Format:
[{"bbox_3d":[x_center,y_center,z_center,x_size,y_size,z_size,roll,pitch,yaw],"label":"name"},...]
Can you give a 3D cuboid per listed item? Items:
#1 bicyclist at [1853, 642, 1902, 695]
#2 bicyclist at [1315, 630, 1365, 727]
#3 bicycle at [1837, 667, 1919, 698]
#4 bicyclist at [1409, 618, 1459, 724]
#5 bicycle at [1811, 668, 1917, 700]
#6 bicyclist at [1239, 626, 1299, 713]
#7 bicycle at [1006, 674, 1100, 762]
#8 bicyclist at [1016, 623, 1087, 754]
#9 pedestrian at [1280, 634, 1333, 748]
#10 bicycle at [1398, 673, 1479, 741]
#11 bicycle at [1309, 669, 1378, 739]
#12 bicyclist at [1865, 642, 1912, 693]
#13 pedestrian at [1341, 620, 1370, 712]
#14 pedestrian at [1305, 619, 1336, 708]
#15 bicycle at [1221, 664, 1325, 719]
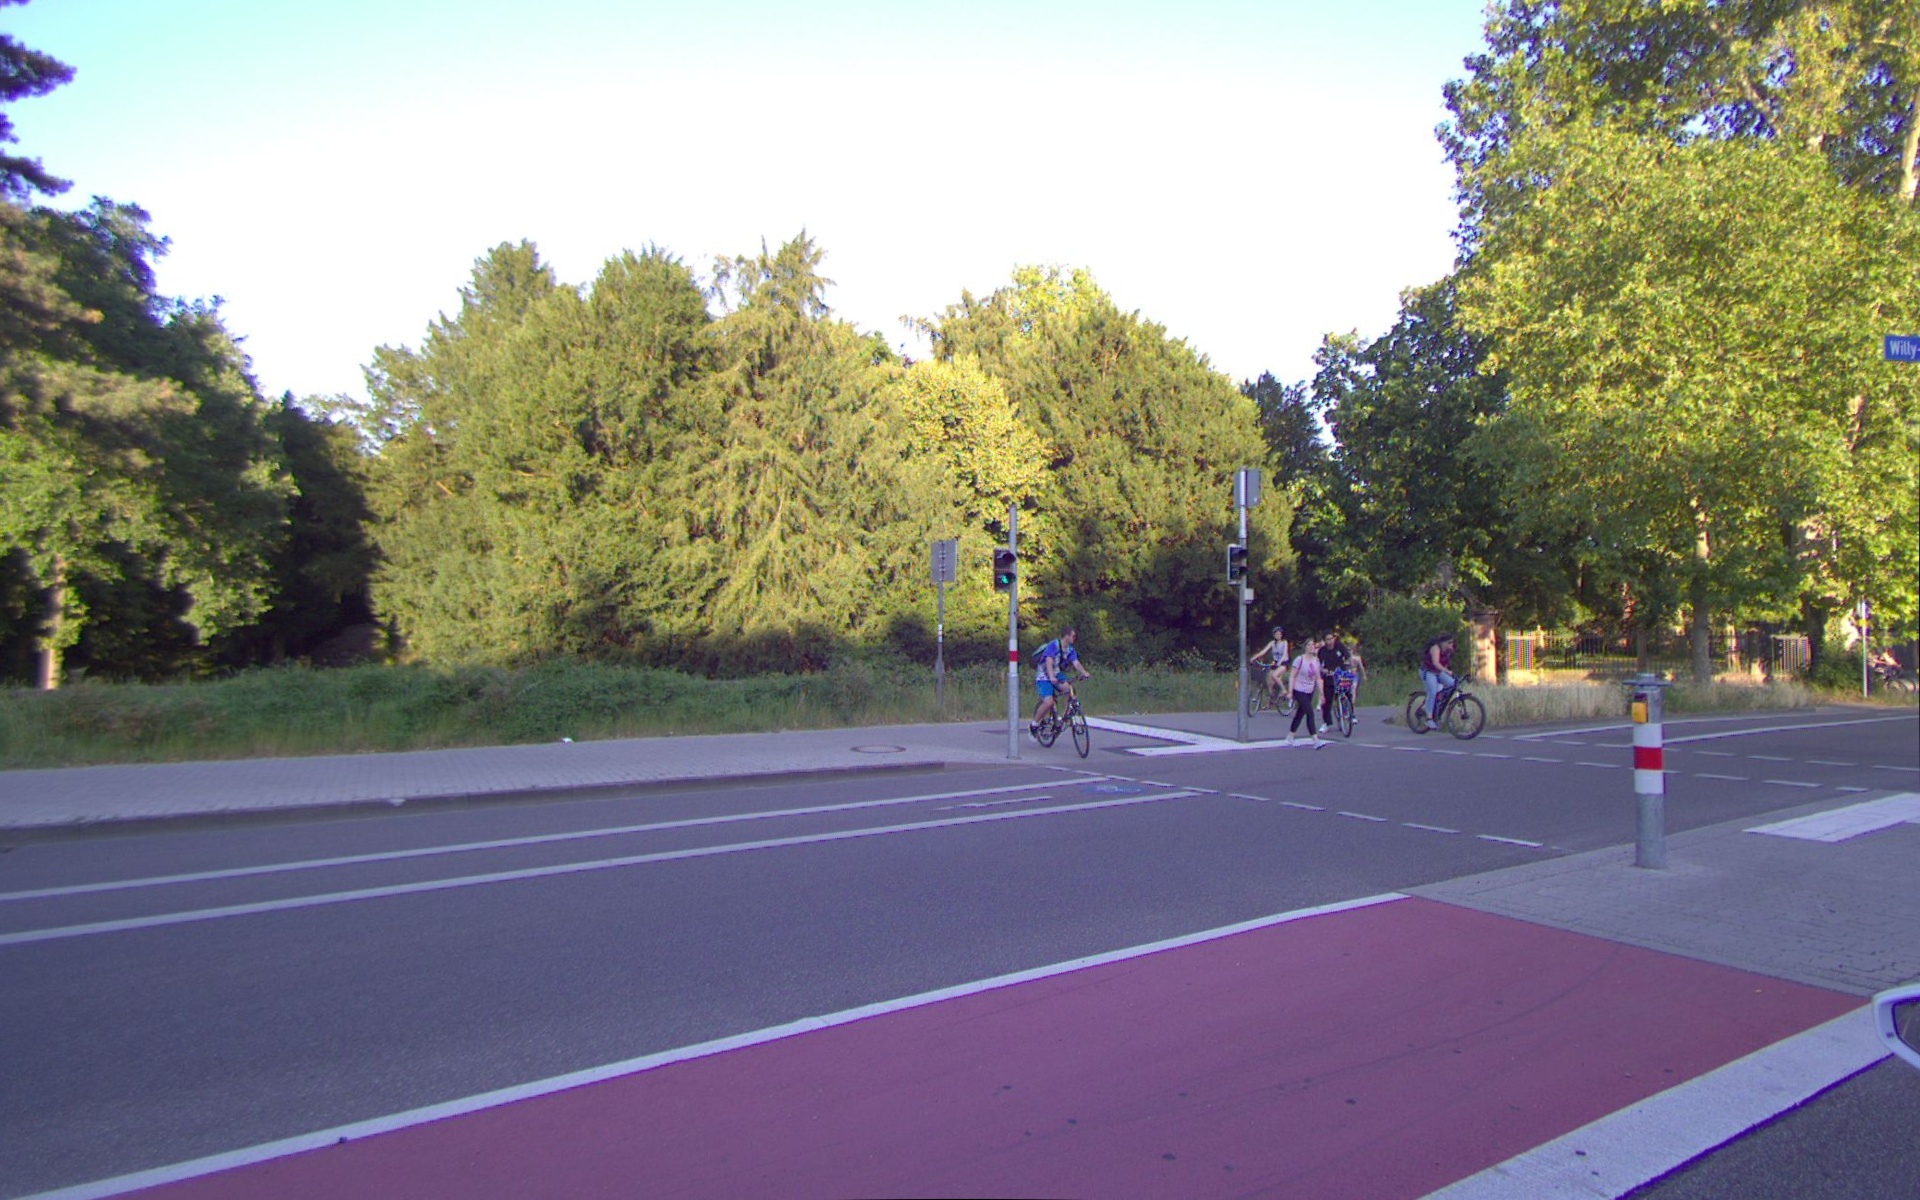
[{"bbox_3d":[29.295,2.177,32.081,0.743,1.652,0.954,1,-2,-29],"label":"bicyclist"},{"bbox_3d":[6.682,1.371,17.683,0.618,1.671,0.640,0,-2,1],"label":"bicyclist"},{"bbox_3d":[30.746,2.725,33.299,0.765,0.936,2.420,1,-2,-29],"label":"bicycle"},{"bbox_3d":[8.240,1.224,17.474,0.564,1.803,0.640,0,-2,1],"label":"bicyclist"},{"bbox_3d":[29.105,2.683,32.384,0.765,0.936,2.420,1,-2,-29],"label":"bicycle"},{"bbox_3d":[6.431,1.420,20.917,0.934,1.751,0.751,1,-1,-32],"label":"bicyclist"},{"bbox_3d":[1.322,1.681,14.760,0.759,1.115,2.117,1,-2,-13],"label":"bicycle"},{"bbox_3d":[1.354,1.286,14.882,0.729,1.848,0.705,2,0,-33],"label":"bicyclist"},{"bbox_3d":[5.370,1.384,15.567,0.492,1.718,0.604,1,-2,-28],"label":"pedestrian"},{"bbox_3d":[8.230,1.814,17.356,0.568,1.043,1.772,0,-2,1],"label":"bicycle"},{"bbox_3d":[6.675,1.786,17.562,0.620,1.126,1.569,0,-2,1],"label":"bicycle"},{"bbox_3d":[30.755,2.226,33.276,0.743,1.652,0.954,1,-2,-29],"label":"bicyclist"},{"bbox_3d":[9.005,1.489,22.858,0.584,2.040,0.642,0,-1,20],"label":"pedestrian"},{"bbox_3d":[8.421,1.460,23.461,0.638,2.040,0.606,0,-1,22],"label":"pedestrian"},{"bbox_3d":[6.533,1.889,20.929,2.270,1.046,0.736,2,-1,-30],"label":"bicycle"}]
